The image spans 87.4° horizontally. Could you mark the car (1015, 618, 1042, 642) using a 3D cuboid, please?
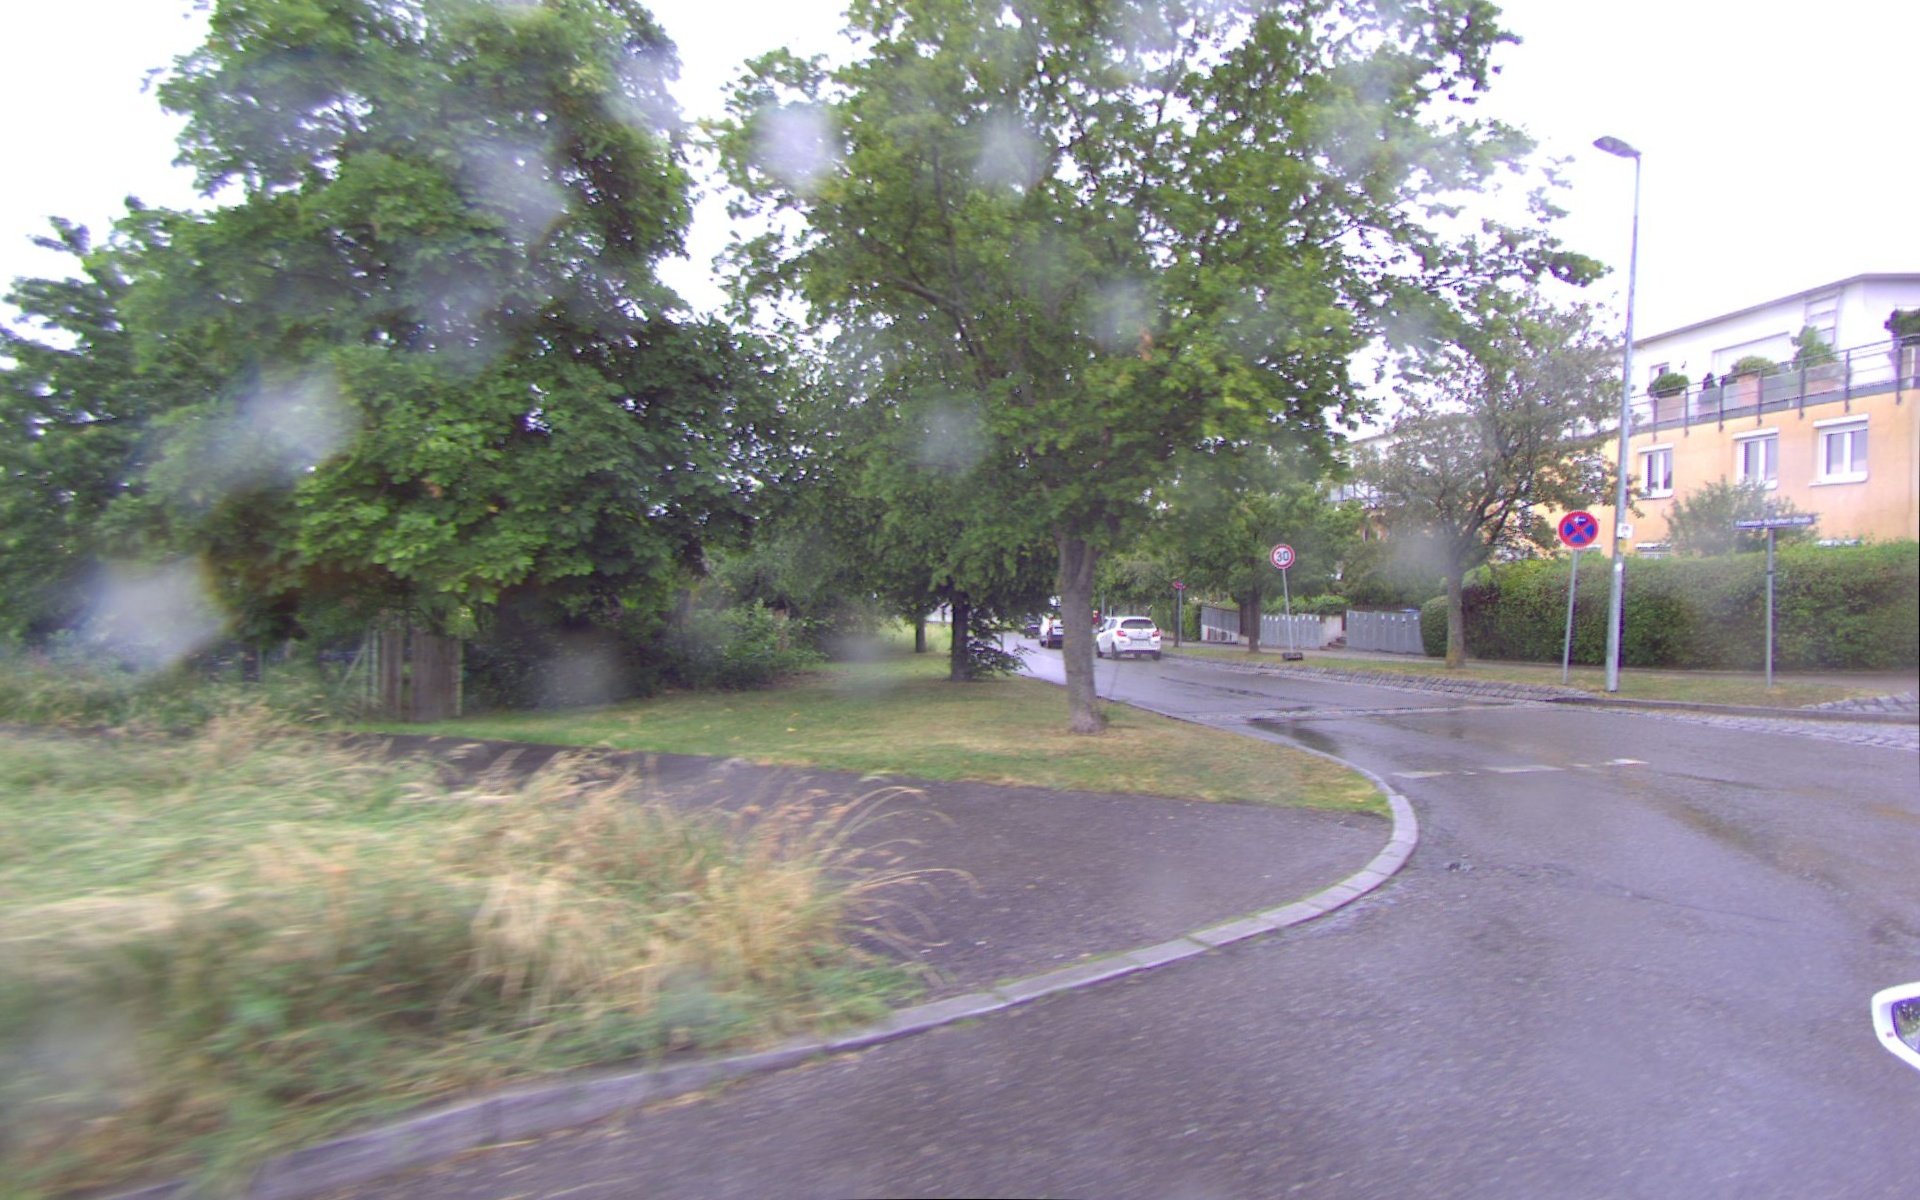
[{"bbox_3d":[4.893,2.103,71.146,1.657,1.573,3.698,0,1,7],"label":"car"}]

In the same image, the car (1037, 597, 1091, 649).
[{"bbox_3d":[5.214,1.147,51.082,2.083,2.500,5.510,0,-1,-1],"label":"car"}]

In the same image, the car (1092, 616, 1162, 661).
[{"bbox_3d":[5.874,1.334,35.666,1.580,1.522,3.724,0,-1,-5],"label":"car"}]
